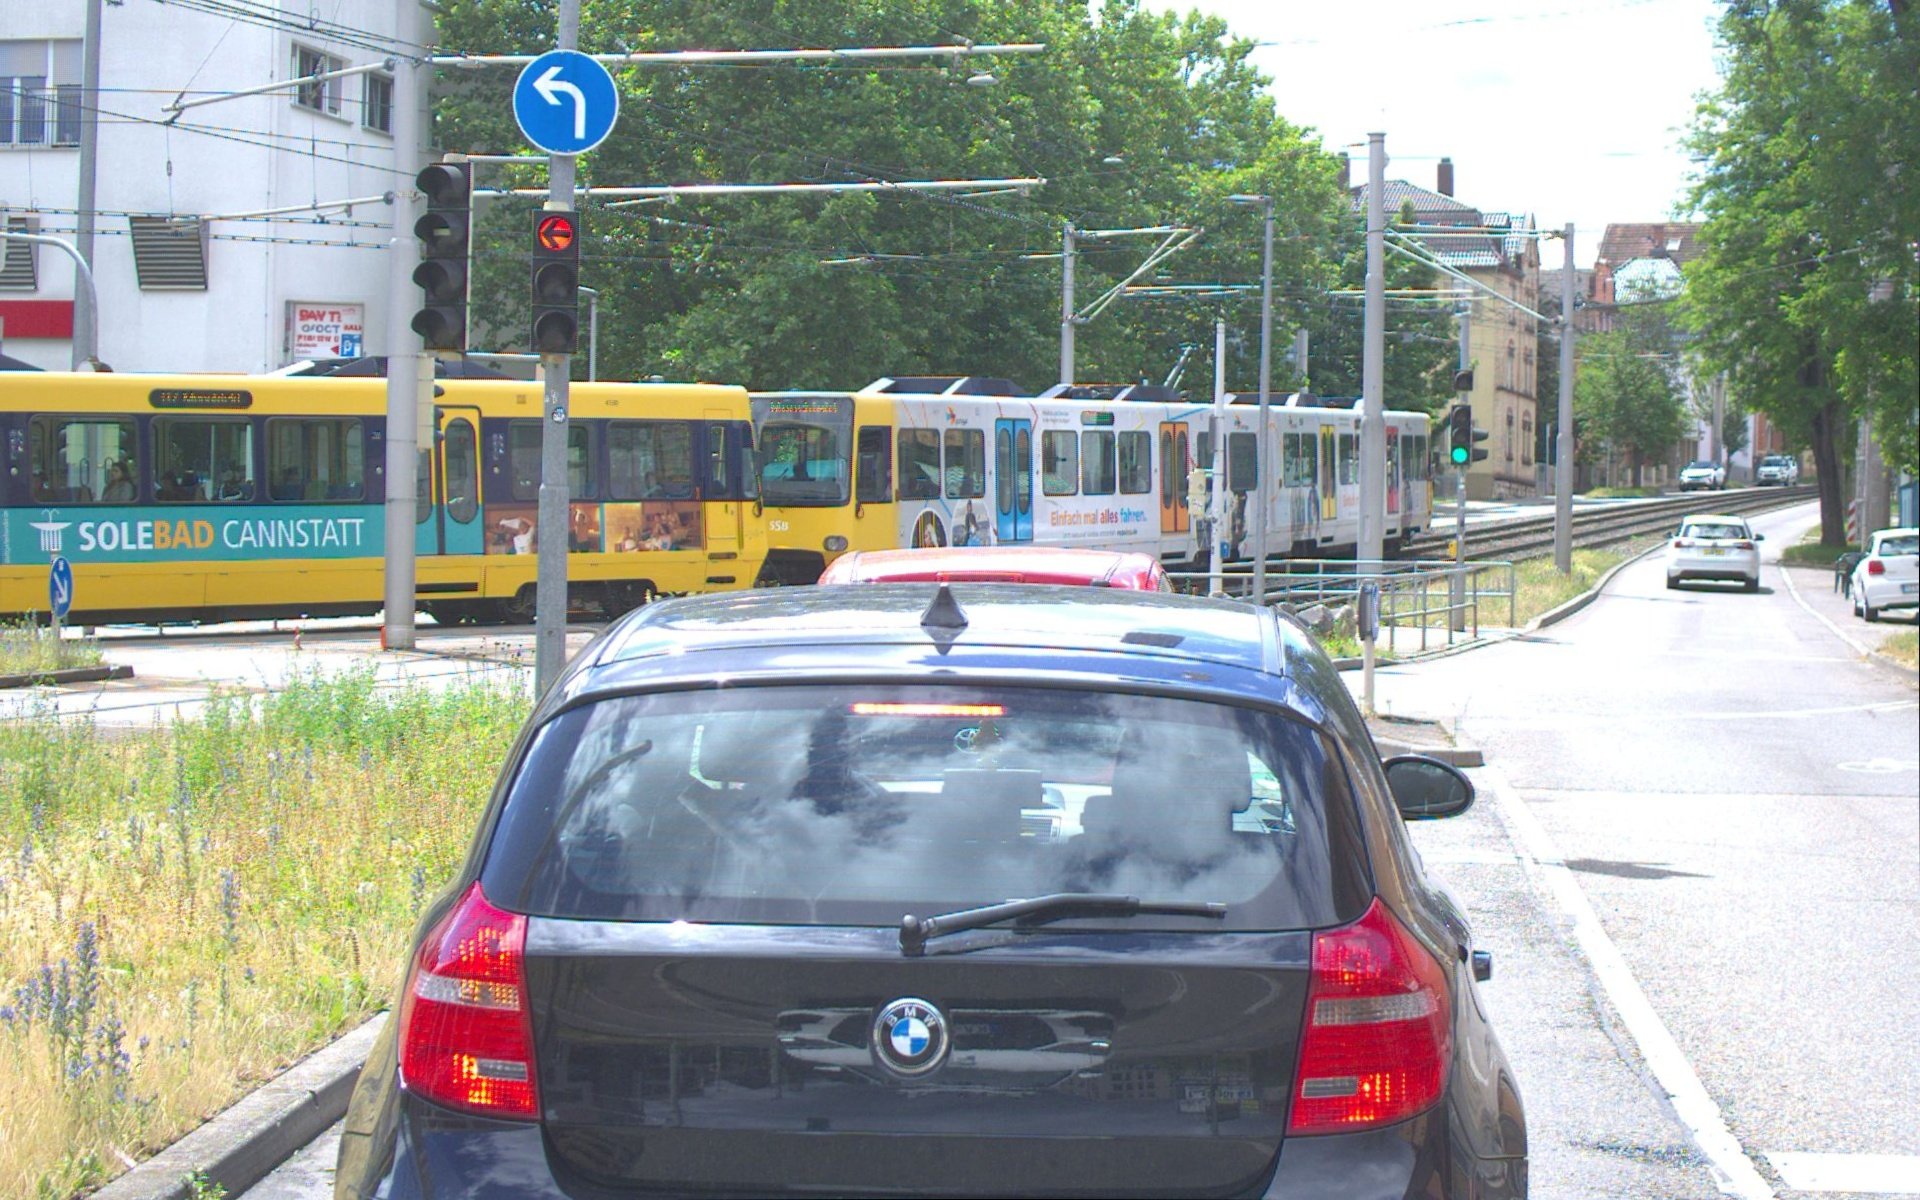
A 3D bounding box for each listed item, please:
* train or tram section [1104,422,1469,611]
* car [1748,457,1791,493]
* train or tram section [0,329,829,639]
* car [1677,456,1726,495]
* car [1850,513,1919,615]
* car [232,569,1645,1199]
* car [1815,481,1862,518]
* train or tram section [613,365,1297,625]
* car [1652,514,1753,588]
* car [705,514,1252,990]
[{"bbox_3d":[8.022,-1.743,79.476,3.753,3.801,20.032,0,0,19],"label":"train or tram section"},{"bbox_3d":[48.744,-7.496,207.028,1.996,2.007,3.996,0,0,21],"label":"car"},{"bbox_3d":[-10.655,-1.451,45.897,20.093,3.816,3.760,-1,0,-42],"label":"train or tram section"},{"bbox_3d":[40.509,-6.779,187.731,1.996,2.007,3.996,0,0,21],"label":"car"},{"bbox_3d":[15.473,-0.580,55.966,1.788,1.590,3.998,0,0,13],"label":"car"},{"bbox_3d":[-0.112,0.686,6.147,1.701,1.447,4.000,0,0,-3],"label":"car"},{"bbox_3d":[37.758,-4.305,147.866,1.816,1.463,3.998,3,2,13],"label":"car"},{"bbox_3d":[0.757,-1.632,61.350,3.754,3.866,20.607,0,0,25],"label":"train or tram section"},{"bbox_3d":[15.044,-1.008,69.797,1.816,1.463,3.999,0,1,10],"label":"car"},{"bbox_3d":[0.219,0.467,12.679,1.625,1.468,3.999,0,0,6],"label":"car"}]
